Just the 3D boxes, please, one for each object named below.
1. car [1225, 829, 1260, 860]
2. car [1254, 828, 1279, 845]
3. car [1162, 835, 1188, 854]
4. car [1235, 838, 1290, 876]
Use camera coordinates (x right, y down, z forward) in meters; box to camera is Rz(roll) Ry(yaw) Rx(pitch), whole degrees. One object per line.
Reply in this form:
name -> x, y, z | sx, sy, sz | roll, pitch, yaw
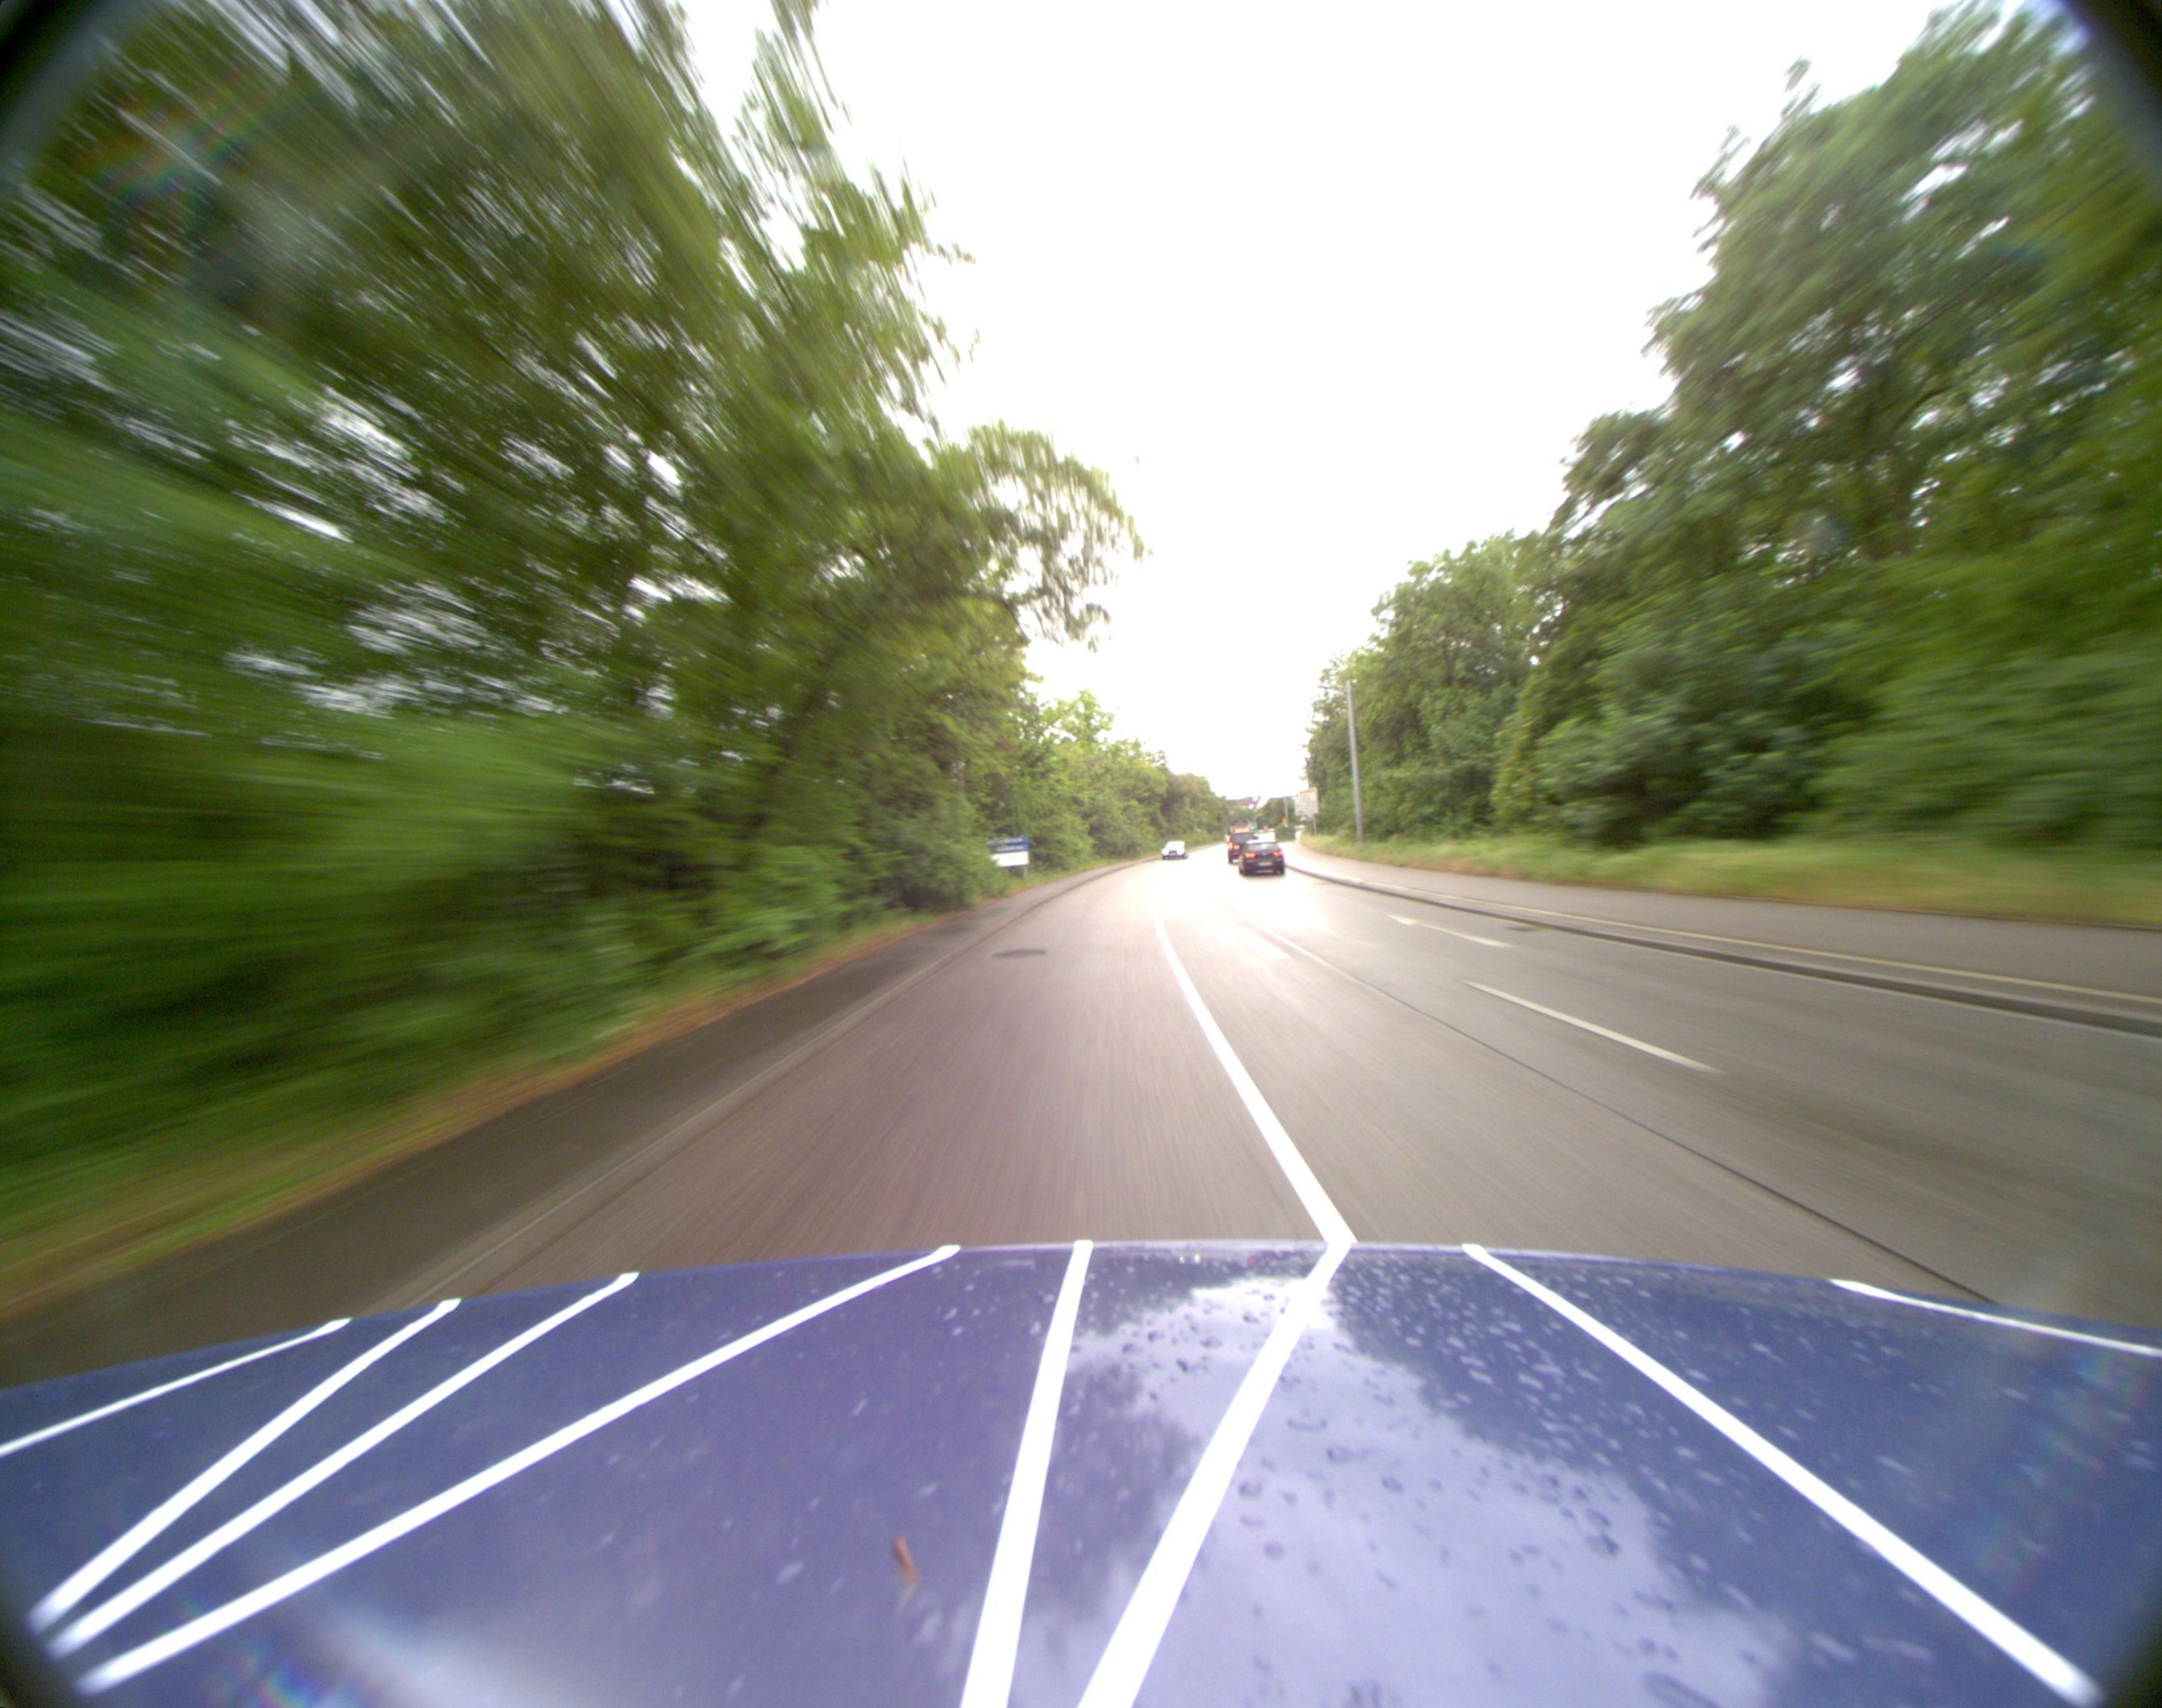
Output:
car -> 10.116, -0.570, 47.858 | 1.830, 1.832, 4.714 | 1, 0, 9
car -> 16.864, -1.588, 69.286 | 1.830, 1.511, 4.003 | 1, 0, 9
car -> 7.574, -0.734, 60.796 | 1.830, 1.511, 4.003 | 1, 0, 10
car -> 7.829, 0.097, 33.036 | 1.831, 1.432, 4.001 | -4, 1, 8
